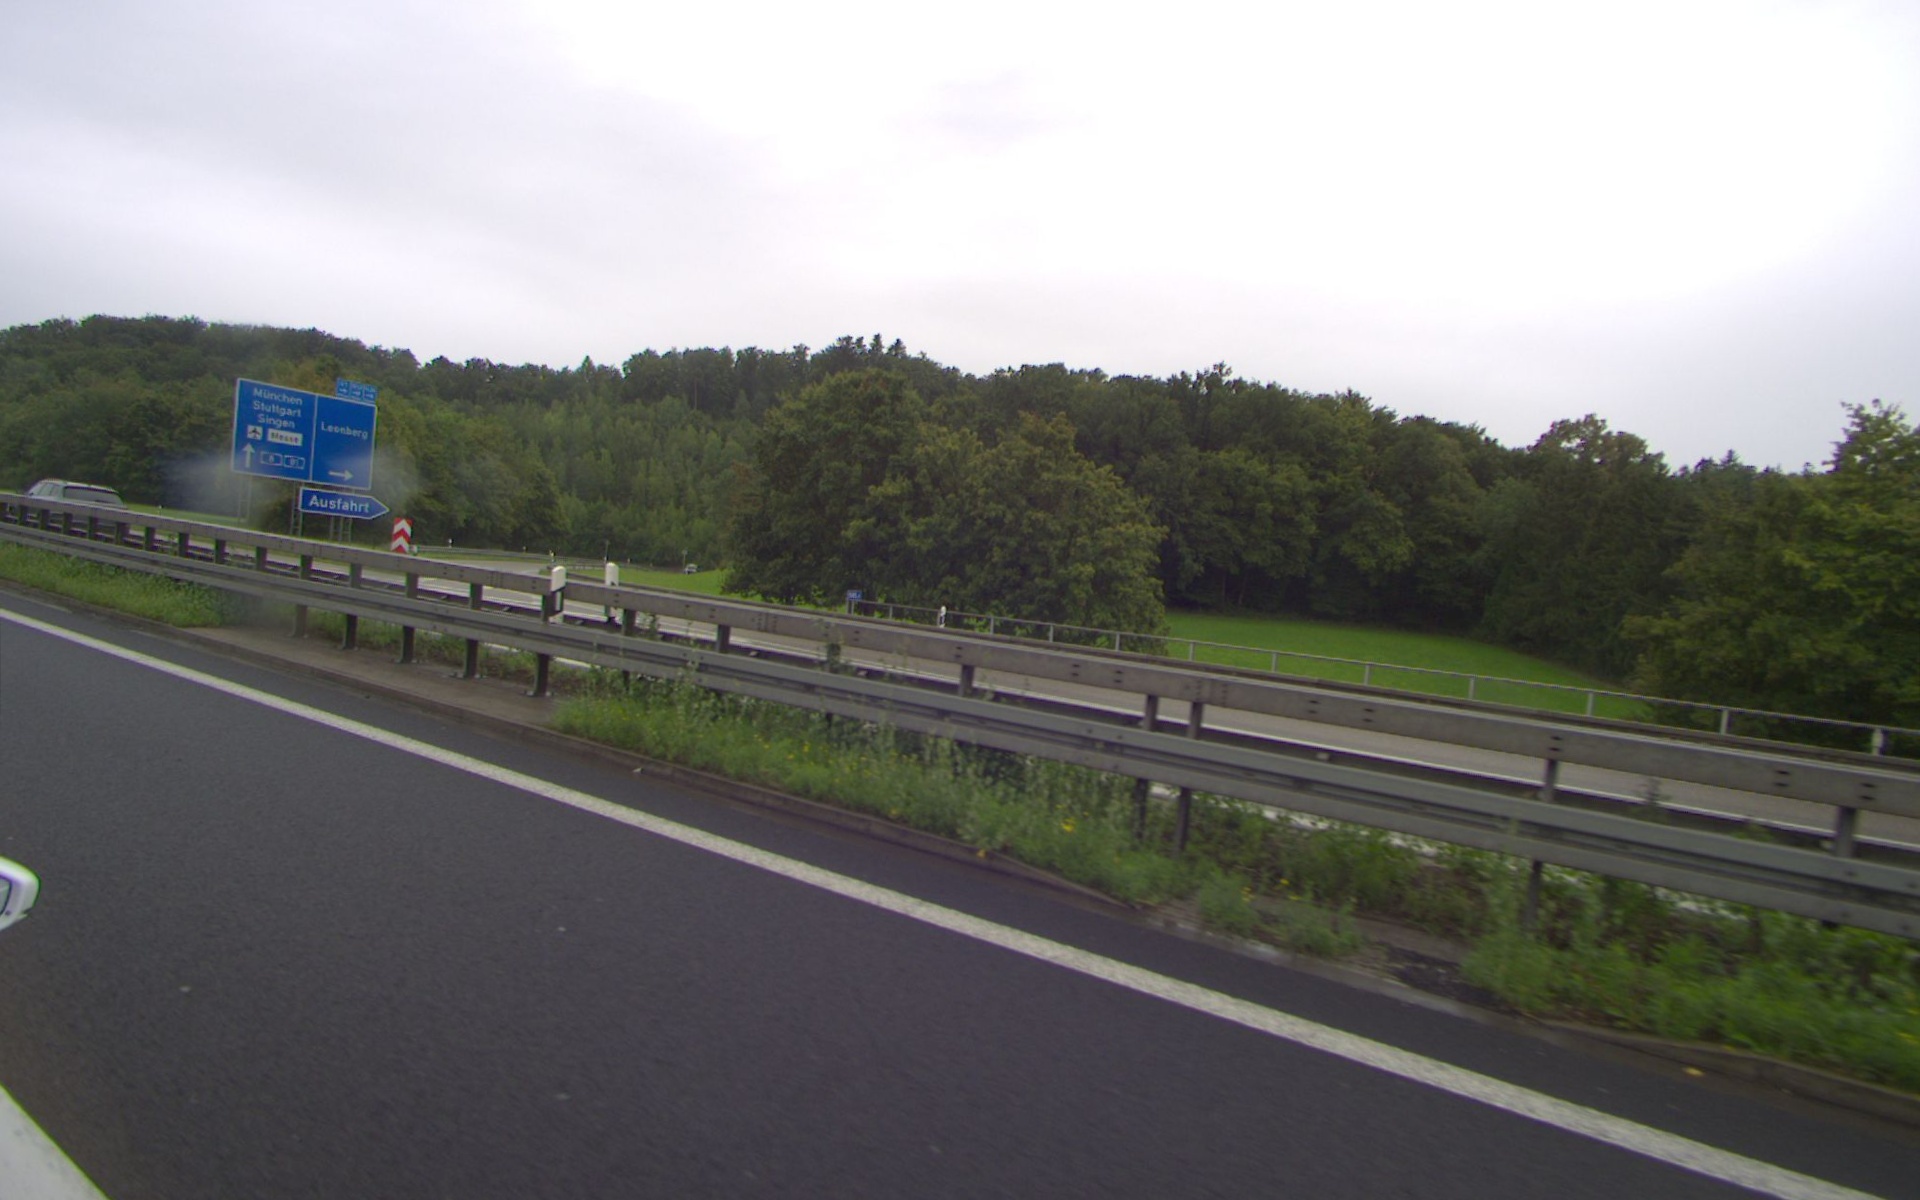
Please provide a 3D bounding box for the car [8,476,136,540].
[{"bbox_3d":[-24.384,-2.533,27.589,4.060,1.400,1.666,7,1,35],"label":"car"}]
